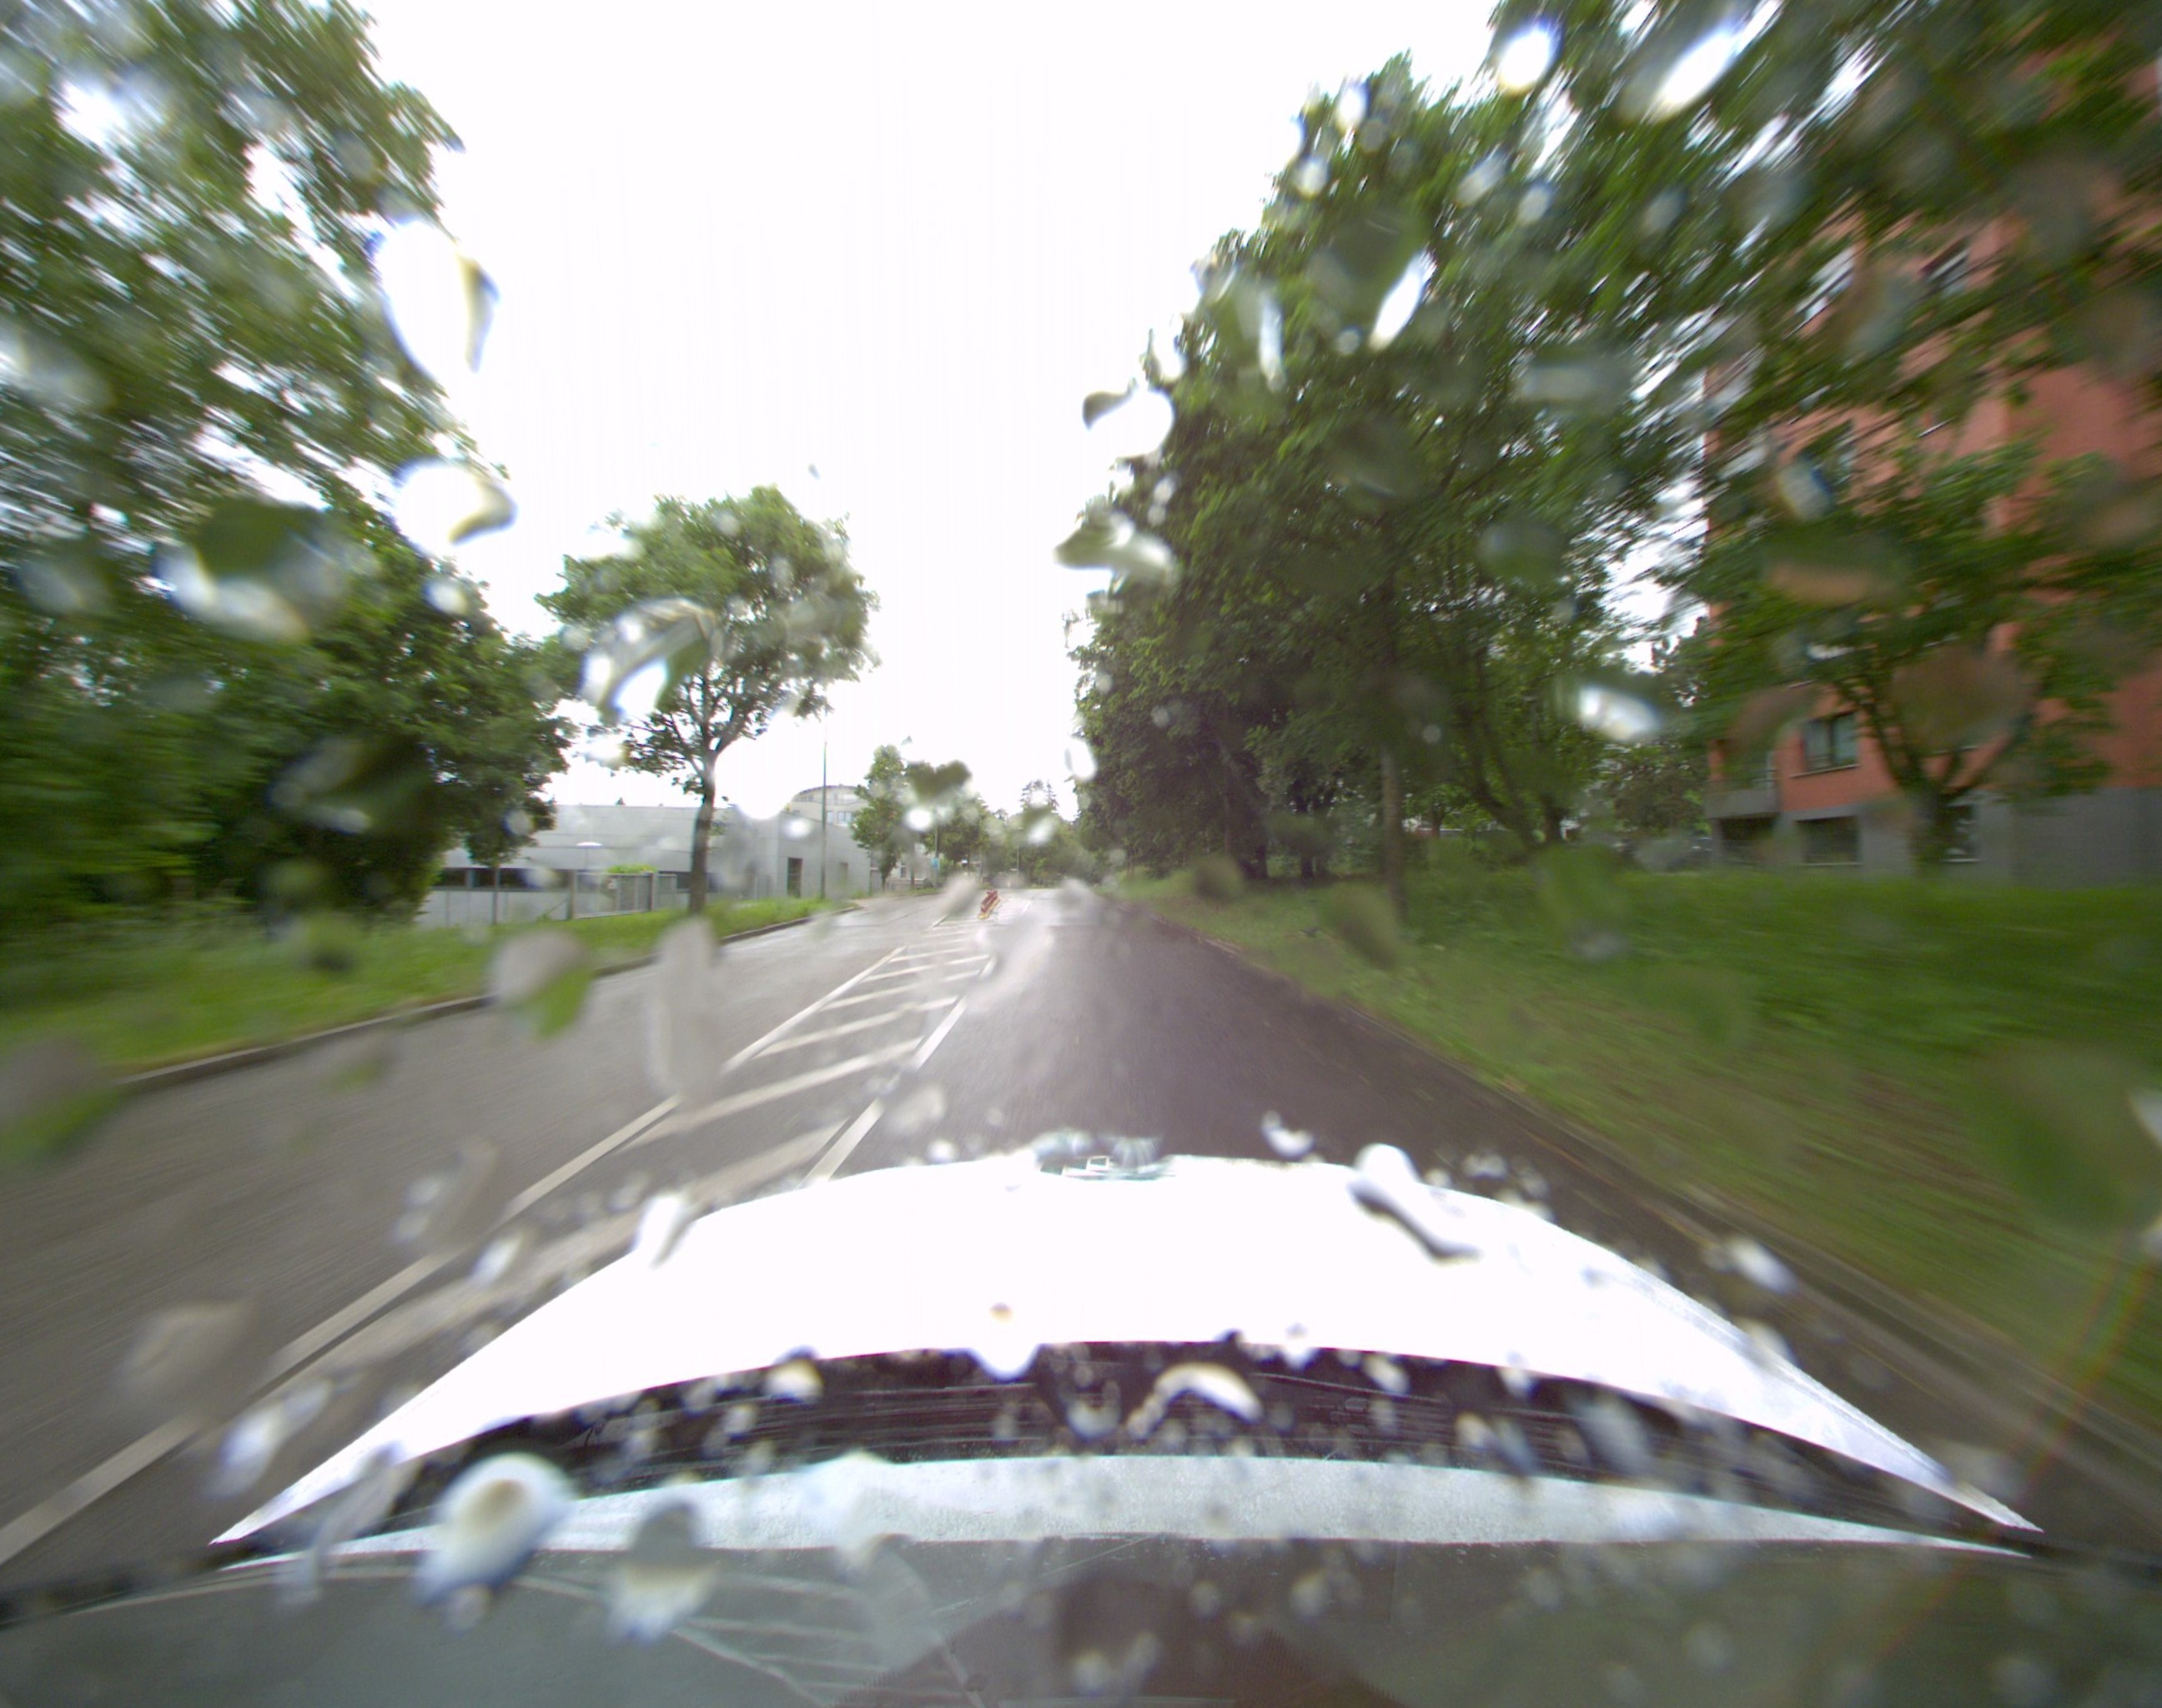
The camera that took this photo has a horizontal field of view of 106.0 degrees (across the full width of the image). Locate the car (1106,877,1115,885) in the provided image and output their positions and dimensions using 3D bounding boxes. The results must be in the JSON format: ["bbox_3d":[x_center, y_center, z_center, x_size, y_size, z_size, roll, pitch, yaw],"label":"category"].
[{"bbox_3d":[5.946,5.375,163.477,1.730,1.511,4.000,-1,-3,1],"label":"car"}]
